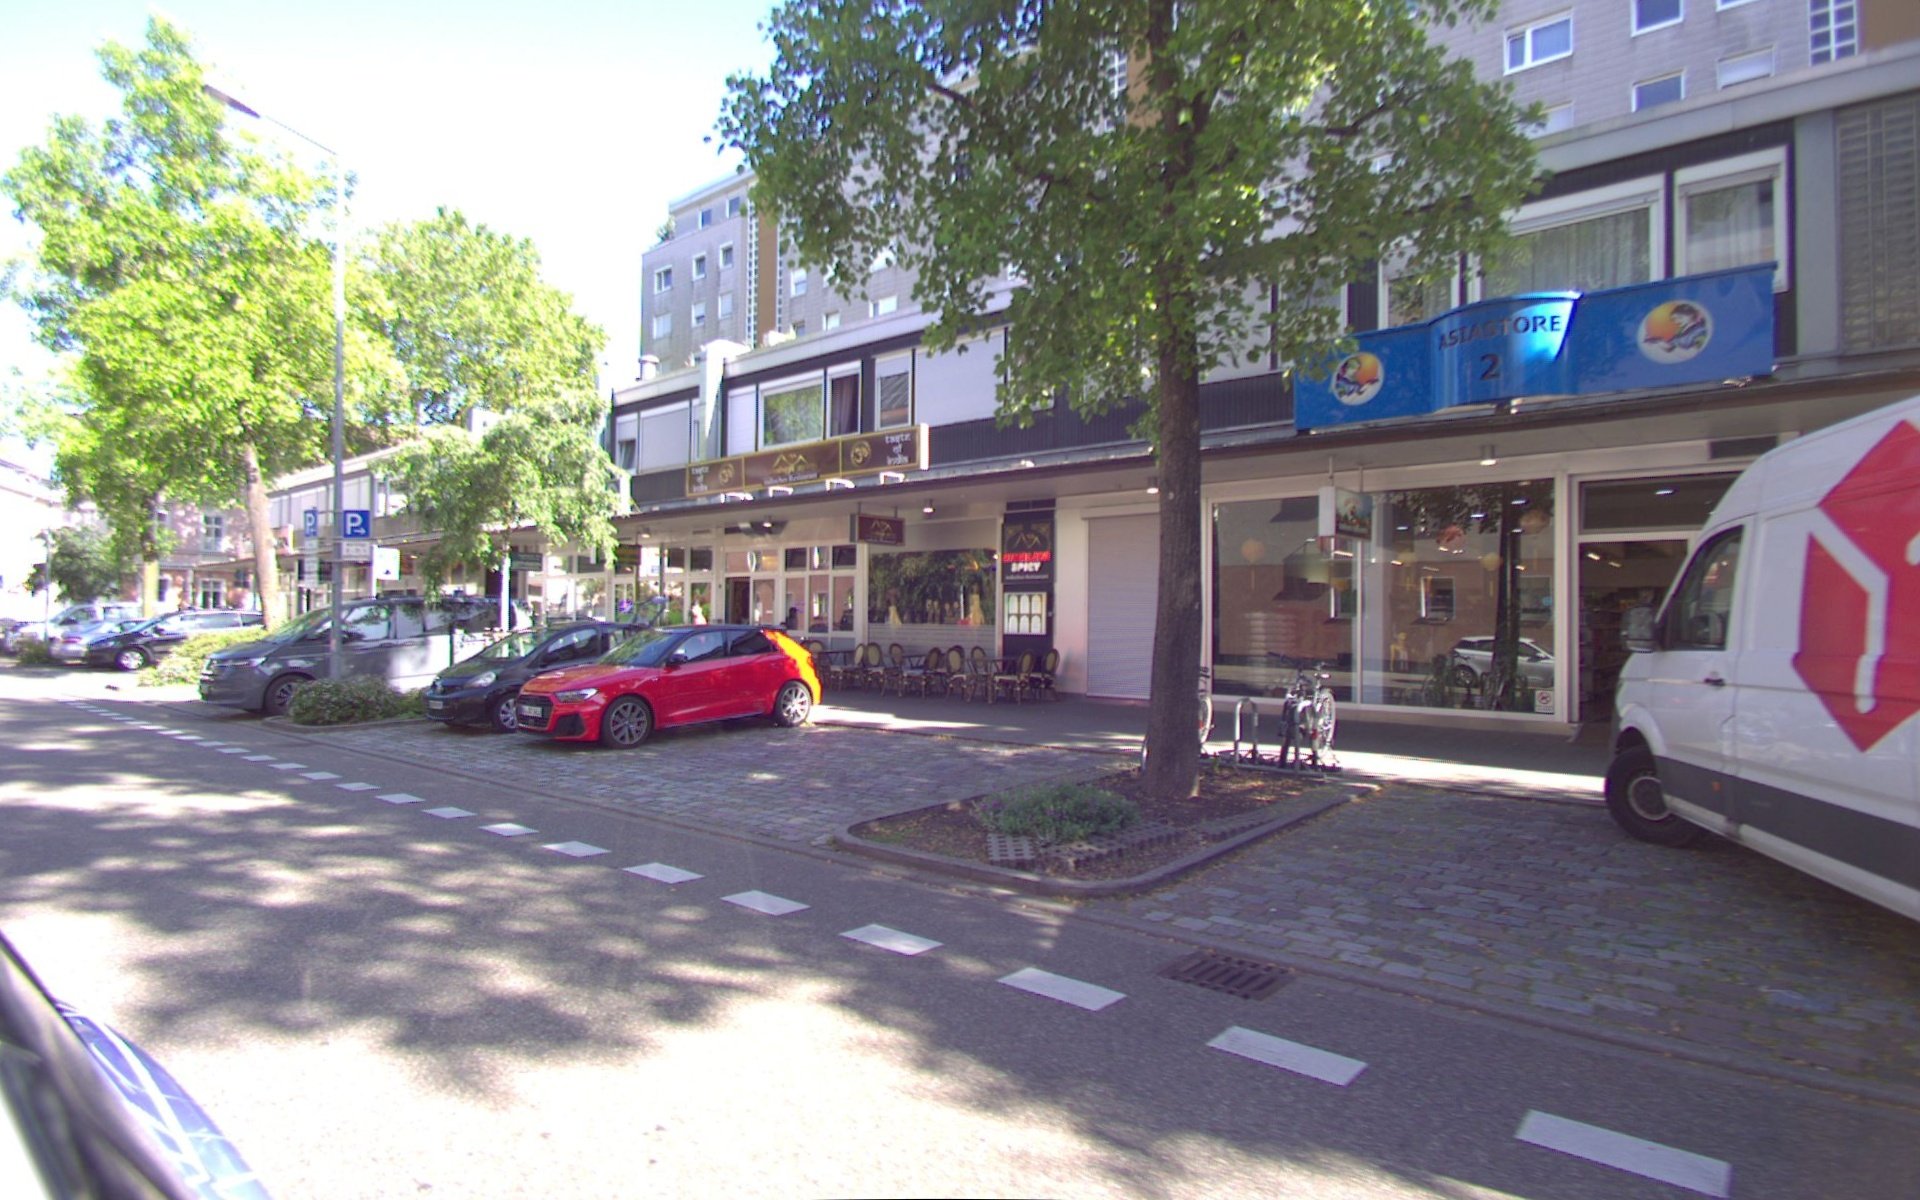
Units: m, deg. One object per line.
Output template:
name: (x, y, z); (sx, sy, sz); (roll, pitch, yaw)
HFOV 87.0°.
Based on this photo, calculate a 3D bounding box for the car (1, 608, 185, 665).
car: (-32.254, 1.324, 37.790); (1.907, 1.984, 4.934); (-1, -1, 38)

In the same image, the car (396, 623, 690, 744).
car: (-5.868, 1.086, 14.584); (1.610, 1.462, 3.632); (-1, -1, 37)

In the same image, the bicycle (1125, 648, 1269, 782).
bicycle: (2.381, 1.087, 10.054); (0.623, 1.125, 1.700); (-1, 0, 43)

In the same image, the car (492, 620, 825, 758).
car: (-3.758, 1.018, 13.150); (1.708, 1.462, 3.878); (-1, -1, 39)

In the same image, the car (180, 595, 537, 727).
car: (-10.164, 0.924, 17.471); (1.872, 1.953, 4.978); (-1, -1, 41)

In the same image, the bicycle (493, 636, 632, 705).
bicycle: (-7.179, 1.249, 18.370); (2.210, 1.176, 0.802); (2, -3, -44)

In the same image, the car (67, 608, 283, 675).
car: (-22.899, 1.149, 29.706); (1.872, 1.790, 4.722); (-1, -1, 38)

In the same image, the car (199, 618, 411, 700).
car: (-14.077, 1.195, 21.874); (1.671, 1.573, 3.549); (-1, -1, 41)

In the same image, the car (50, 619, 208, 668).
car: (-28.743, 1.466, 35.118); (1.735, 1.431, 3.949); (-1, 1, 38)

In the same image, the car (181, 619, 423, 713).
car: (-12.374, 1.167, 19.178); (1.660, 1.566, 3.522); (-1, -1, 39)

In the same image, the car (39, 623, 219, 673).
car: (-25.230, 1.431, 30.854); (1.757, 1.409, 3.948); (-1, -2, 38)

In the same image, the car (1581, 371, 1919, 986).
car: (4.930, 0.327, 4.196); (1.980, 2.493, 6.575); (0, -2, 13)

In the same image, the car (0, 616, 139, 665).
car: (-34.468, 1.562, 39.144); (1.756, 1.805, 3.947); (-1, -2, 39)

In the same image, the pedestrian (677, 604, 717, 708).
pedestrian: (-4.477, 0.943, 17.219); (0.571, 1.725, 0.637); (1, -2, -22)

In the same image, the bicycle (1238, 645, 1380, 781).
bicycle: (3.404, 1.033, 9.784); (0.587, 1.115, 1.848); (-1, 0, 43)

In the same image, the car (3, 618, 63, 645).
car: (-58.231, 1.988, 63.620); (1.645, 1.650, 4.061); (1, -2, -26)
